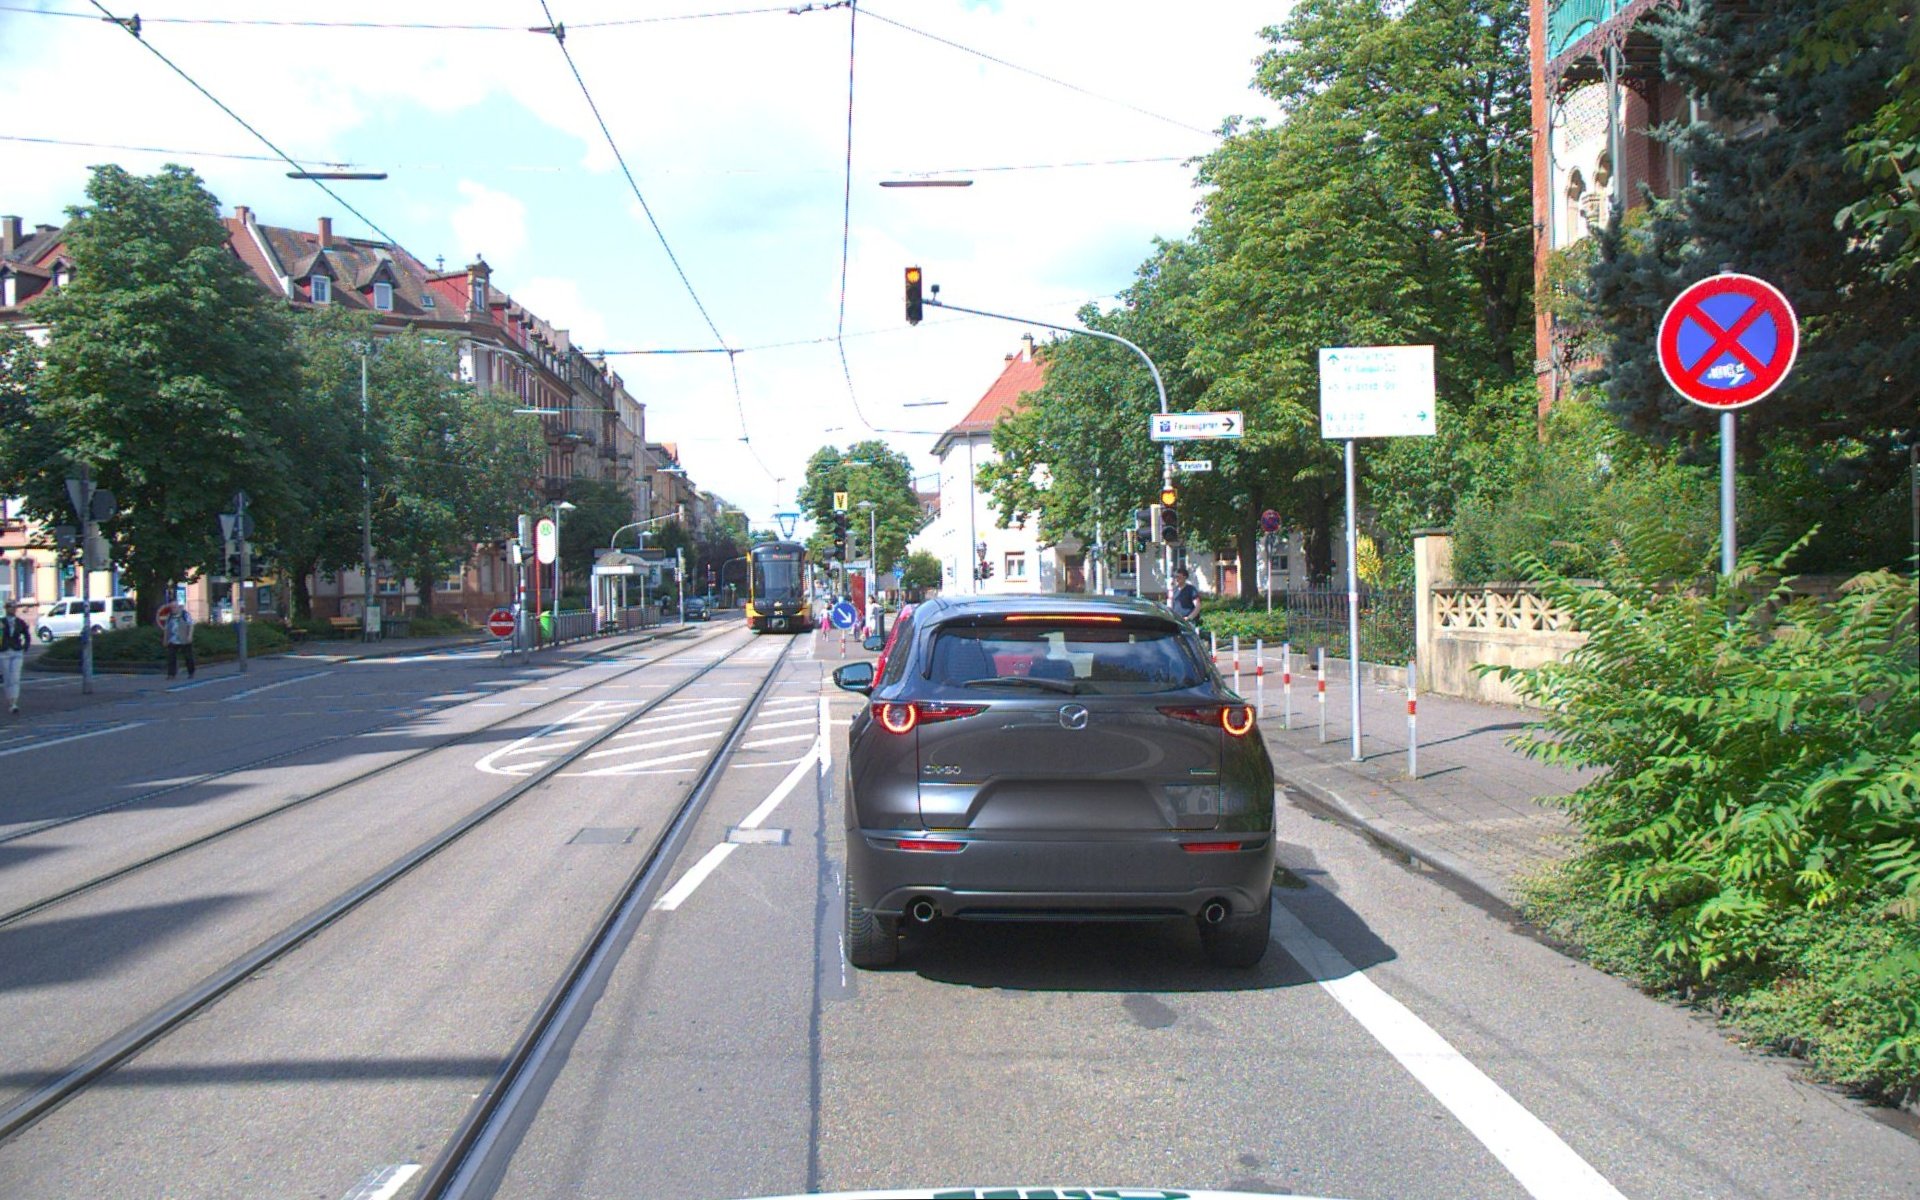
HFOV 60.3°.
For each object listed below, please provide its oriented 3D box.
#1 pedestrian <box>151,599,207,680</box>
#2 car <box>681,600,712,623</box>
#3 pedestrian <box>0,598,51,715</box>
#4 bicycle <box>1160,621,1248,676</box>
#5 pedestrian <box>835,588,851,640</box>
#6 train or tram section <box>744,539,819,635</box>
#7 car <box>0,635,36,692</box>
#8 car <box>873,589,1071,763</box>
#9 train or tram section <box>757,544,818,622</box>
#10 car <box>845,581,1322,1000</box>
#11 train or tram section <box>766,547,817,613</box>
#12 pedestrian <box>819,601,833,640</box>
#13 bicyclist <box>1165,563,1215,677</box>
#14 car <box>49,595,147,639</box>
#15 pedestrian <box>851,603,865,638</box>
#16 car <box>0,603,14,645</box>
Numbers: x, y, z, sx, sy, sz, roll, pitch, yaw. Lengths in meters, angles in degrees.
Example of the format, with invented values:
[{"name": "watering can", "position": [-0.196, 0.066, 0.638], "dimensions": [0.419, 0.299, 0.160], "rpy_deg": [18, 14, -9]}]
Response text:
[{"name": "pedestrian", "position": [-16.976, 0.849, 35.959], "dimensions": [0.804, 1.735, 0.719], "rpy_deg": [-1, 0, 4]}, {"name": "car", "position": [-16.305, 0.703, 102.341], "dimensions": [1.583, 1.333, 3.624], "rpy_deg": [-1, 0, -5]}, {"name": "pedestrian", "position": [-14.691, 0.875, 25.817], "dimensions": [0.792, 1.785, 0.676], "rpy_deg": [-1, 0, -35]}, {"name": "bicycle", "position": [4.057, 0.785, 27.423], "dimensions": [1.685, 0.838, 0.487], "rpy_deg": [-1, 0, -43]}, {"name": "pedestrian", "position": [-3.366, 0.401, 47.556], "dimensions": [0.441, 1.459, 0.474], "rpy_deg": [-1, 0, -6]}, {"name": "train or tram section", "position": [-7.337, -0.627, 69.316], "dimensions": [2.699, 3.551, 14.393], "rpy_deg": [-1, 1, -5]}, {"name": "car", "position": [-22.481, 1.418, 36.853], "dimensions": [3.915, 1.203, 1.674], "rpy_deg": [-1, 0, 33]}, {"name": "car", "position": [0.055, 0.670, 16.704], "dimensions": [1.742, 1.526, 3.999], "rpy_deg": [1, 0, -2]}, {"name": "train or tram section", "position": [-8.606, -0.925, 83.653], "dimensions": [2.699, 3.551, 14.393], "rpy_deg": [-1, 1, -5]}, {"name": "car", "position": [0.405, 0.693, 8.087], "dimensions": [1.742, 1.526, 3.999], "rpy_deg": [1, 0, -2]}, {"name": "train or tram section", "position": [-9.868, -1.231, 97.976], "dimensions": [2.699, 3.551, 14.393], "rpy_deg": [-1, 1, -5]}, {"name": "pedestrian", "position": [-3.850, 0.582, 47.573], "dimensions": [0.372, 1.089, 0.474], "rpy_deg": [-1, 0, -6]}, {"name": "bicyclist", "position": [3.755, 0.315, 27.039], "dimensions": [0.597, 1.824, 0.656], "rpy_deg": [-1, 0, -11]}, {"name": "car", "position": [-39.926, 0.800, 76.596], "dimensions": [3.906, 1.937, 2.000], "rpy_deg": [-1, 0, 23]}, {"name": "pedestrian", "position": [-2.958, 0.600, 47.805], "dimensions": [0.372, 1.001, 0.474], "rpy_deg": [-1, 0, -6]}, {"name": "car", "position": [-39.548, 0.982, 64.711], "dimensions": [3.906, 1.624, 2.000], "rpy_deg": [-1, 0, -1]}]
